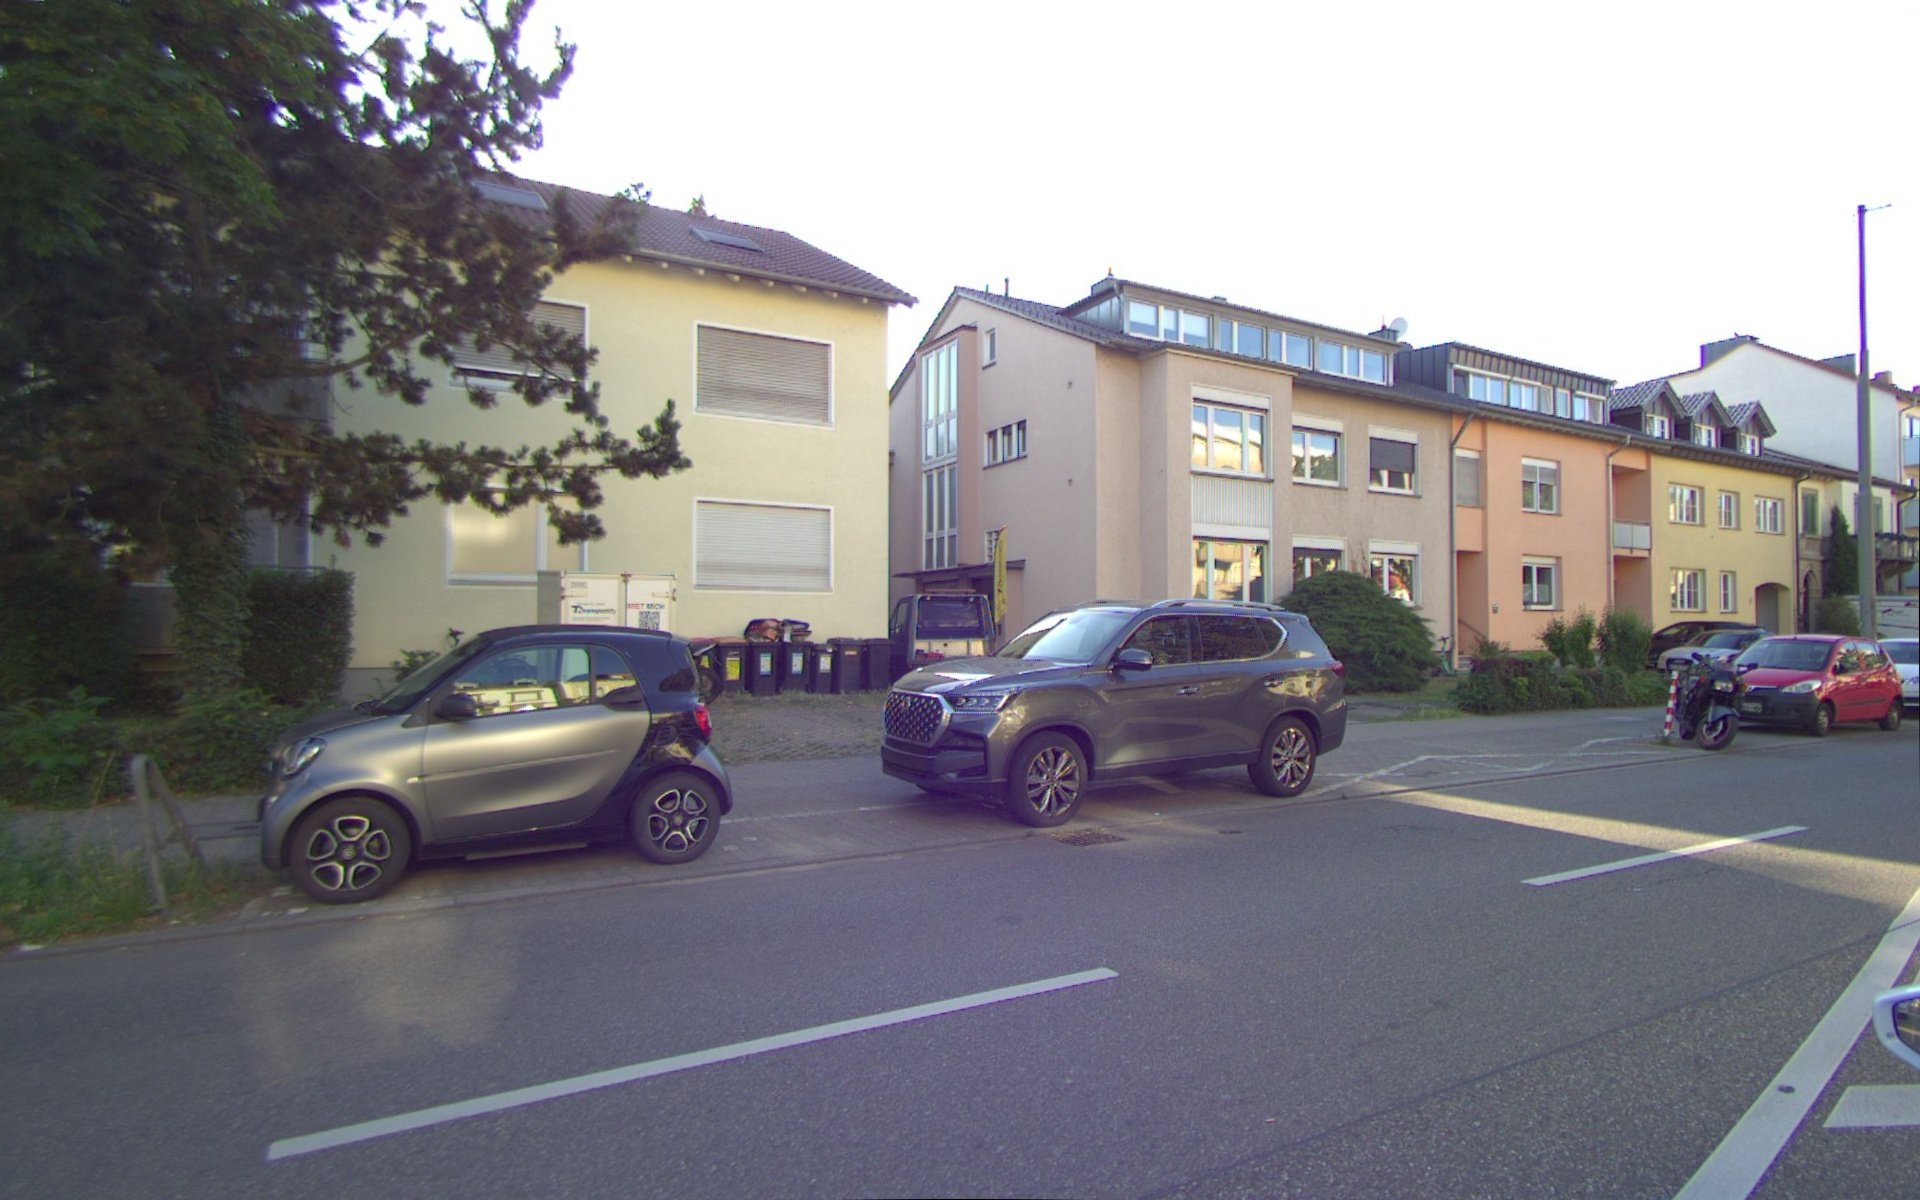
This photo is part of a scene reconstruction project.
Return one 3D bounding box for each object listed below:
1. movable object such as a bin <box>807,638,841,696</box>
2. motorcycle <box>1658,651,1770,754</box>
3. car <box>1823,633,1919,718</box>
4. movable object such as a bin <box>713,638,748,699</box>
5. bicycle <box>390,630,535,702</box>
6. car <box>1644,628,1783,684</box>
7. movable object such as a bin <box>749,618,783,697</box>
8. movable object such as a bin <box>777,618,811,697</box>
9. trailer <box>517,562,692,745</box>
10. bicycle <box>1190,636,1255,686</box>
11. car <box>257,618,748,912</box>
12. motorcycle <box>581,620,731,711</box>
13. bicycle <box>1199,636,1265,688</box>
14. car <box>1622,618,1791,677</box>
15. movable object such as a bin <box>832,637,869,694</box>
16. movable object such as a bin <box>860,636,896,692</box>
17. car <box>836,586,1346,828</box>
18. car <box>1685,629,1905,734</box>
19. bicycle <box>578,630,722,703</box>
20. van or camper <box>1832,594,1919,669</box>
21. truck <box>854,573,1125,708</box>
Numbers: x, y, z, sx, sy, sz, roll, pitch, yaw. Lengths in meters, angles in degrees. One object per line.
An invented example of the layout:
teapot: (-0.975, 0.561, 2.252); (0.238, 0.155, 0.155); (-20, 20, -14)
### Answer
movable object such as a bin: (-2.523, 1.233, 18.586); (0.480, 1.044, 0.478); (1, -2, -29)
motorcycle: (10.588, 1.376, 14.166); (1.164, 1.282, 2.362); (-1, -2, 36)
car: (18.749, 1.424, 19.770); (3.847, 1.543, 1.585); (1, -2, -31)
movable object such as a bin: (-4.051, 1.198, 17.707); (0.480, 1.044, 0.478); (1, -2, -29)
bicycle: (-7.841, 1.017, 15.880); (2.022, 1.078, 0.516); (1, -2, -31)
car: (20.664, 1.503, 27.519); (3.706, 1.427, 1.658); (1, -3, -29)
movable object such as a bin: (-3.483, 1.023, 18.039); (0.480, 1.376, 0.478); (1, -2, -29)
movable object such as a bin: (-3.023, 1.034, 18.305); (0.480, 1.420, 0.478); (1, -2, -29)
trailer: (-4.573, 0.644, 12.742); (1.535, 2.040, 2.758); (1, -2, -32)
bicycle: (5.932, 1.360, 22.648); (1.691, 1.100, 0.331); (1, -2, -31)
car: (-3.002, 0.927, 6.787); (2.718, 1.576, 1.565); (1, -2, -31)
motorcycle: (-4.870, 1.026, 16.159); (2.232, 1.392, 0.568); (1, -2, -31)
bicycle: (6.034, 1.360, 22.261); (1.691, 1.100, 0.331); (1, -2, -31)
car: (23.876, 1.478, 32.275); (1.843, 1.658, 3.970); (1, 0, -28)
movable object such as a bin: (-2.058, 1.227, 18.878); (0.531, 1.044, 0.478); (1, -2, -29)
movable object such as a bin: (-1.566, 1.212, 19.236); (0.543, 1.044, 0.478); (1, -2, -29)
car: (1.350, 0.860, 9.510); (4.673, 1.802, 1.877); (1, -2, -32)
car: (13.650, 1.262, 16.414); (3.392, 1.543, 1.587); (1, -2, -28)
bicycle: (-5.174, 1.086, 16.836); (2.232, 1.156, 0.567); (1, -1, -31)
van or camper: (37.833, 1.256, 38.115); (2.324, 2.810, 6.764); (1, 0, -30)
truck: (0.273, 0.772, 20.149); (2.249, 2.214, 6.864); (1, -2, -29)
